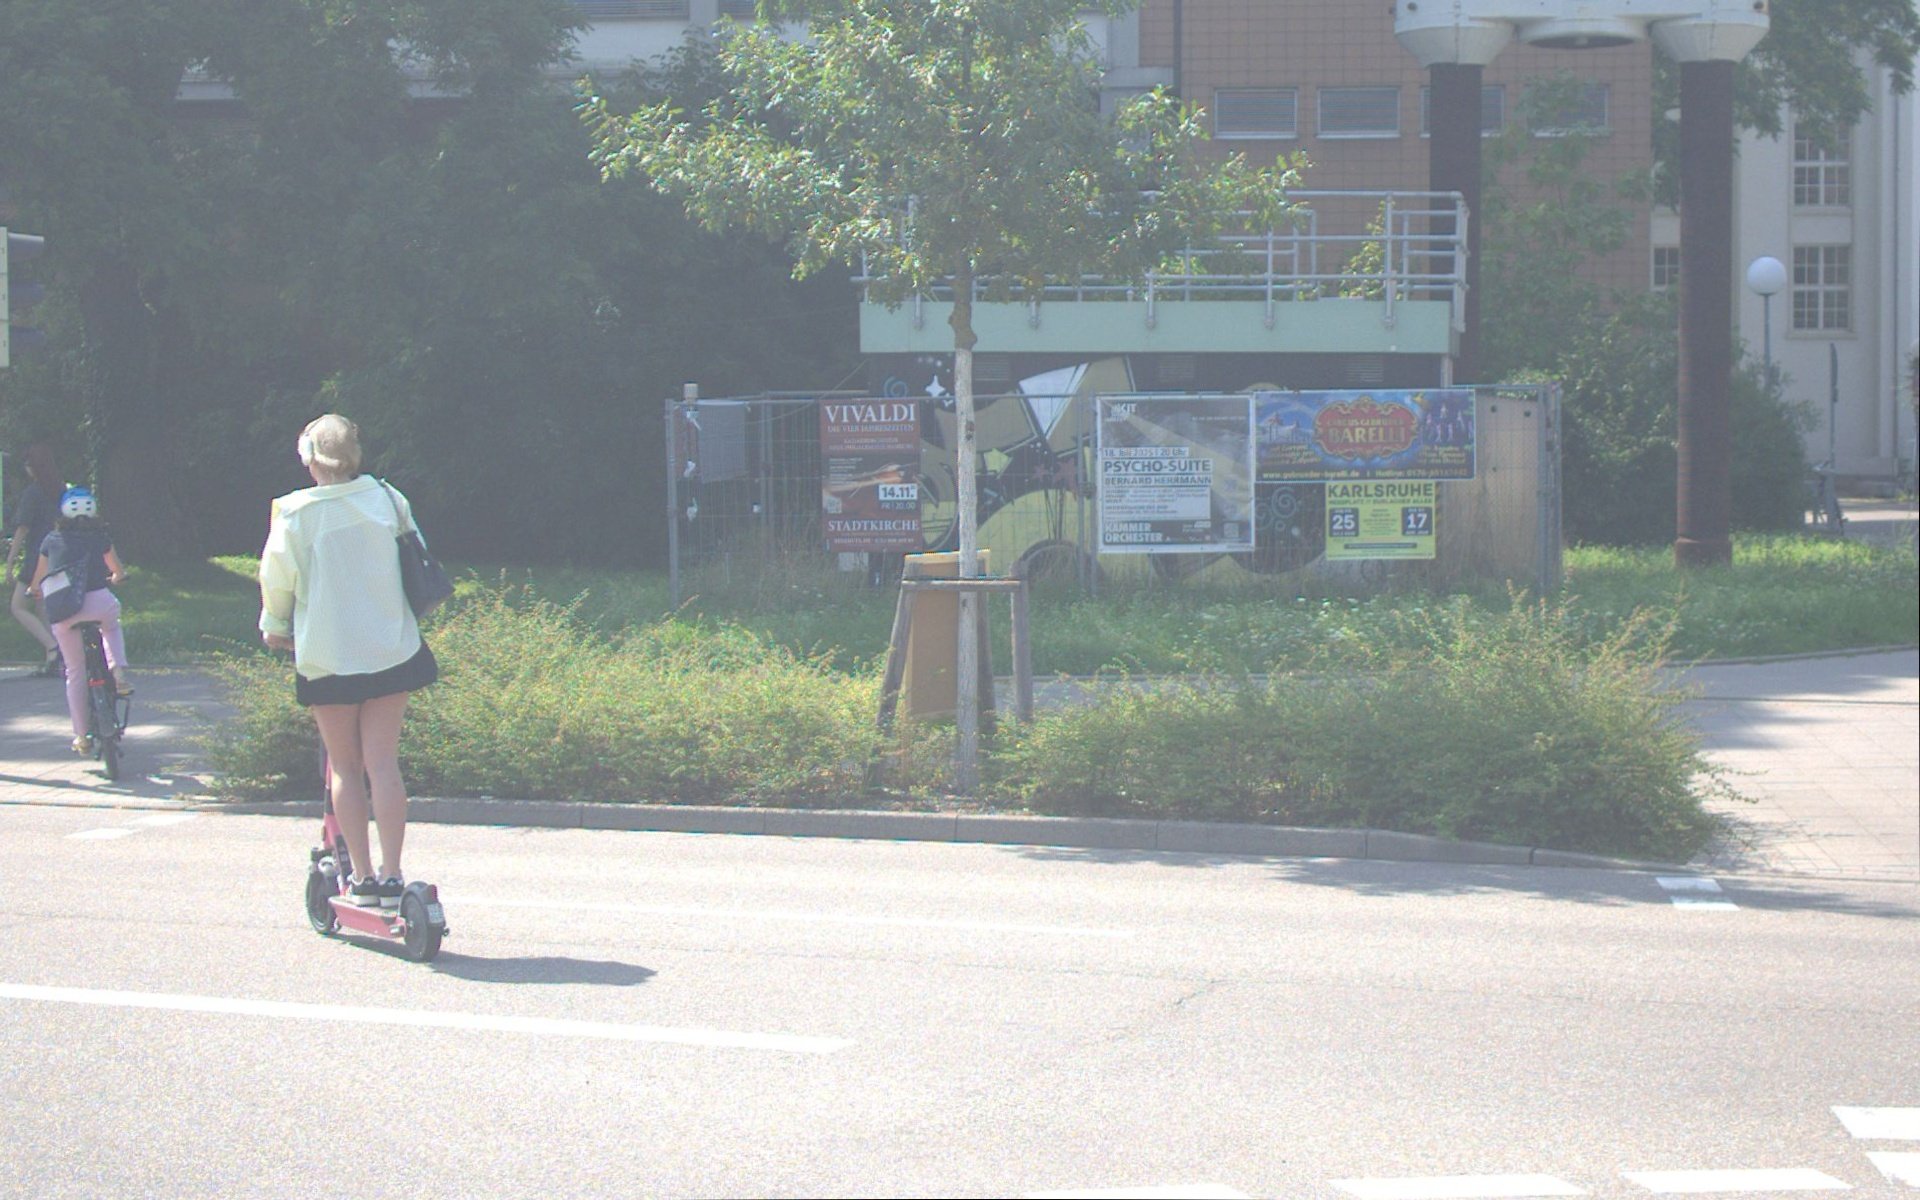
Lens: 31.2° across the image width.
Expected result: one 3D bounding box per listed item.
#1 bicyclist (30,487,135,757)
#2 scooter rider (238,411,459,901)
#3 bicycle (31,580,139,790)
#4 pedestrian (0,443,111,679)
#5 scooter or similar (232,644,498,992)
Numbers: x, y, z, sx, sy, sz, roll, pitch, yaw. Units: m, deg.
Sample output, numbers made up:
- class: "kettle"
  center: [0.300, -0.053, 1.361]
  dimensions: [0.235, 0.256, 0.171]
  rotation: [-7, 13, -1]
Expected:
- class: "bicyclist"
  center: [-4.996, 0.108, 19.555]
  dimensions: [0.548, 1.491, 0.804]
  rotation: [-1, 2, -15]
- class: "scooter rider"
  center: [-2.179, 0.182, 12.230]
  dimensions: [0.670, 1.693, 0.539]
  rotation: [-1, 2, -20]
- class: "bicycle"
  center: [-5.006, 0.454, 19.627]
  dimensions: [0.556, 1.056, 2.005]
  rotation: [-1, 3, -15]
- class: "pedestrian"
  center: [-6.893, -0.303, 25.467]
  dimensions: [0.877, 1.698, 0.707]
  rotation: [1, 4, 24]
- class: "scooter or similar"
  center: [-2.133, 0.717, 12.134]
  dimensions: [0.556, 1.056, 2.004]
  rotation: [0, 1, -21]
